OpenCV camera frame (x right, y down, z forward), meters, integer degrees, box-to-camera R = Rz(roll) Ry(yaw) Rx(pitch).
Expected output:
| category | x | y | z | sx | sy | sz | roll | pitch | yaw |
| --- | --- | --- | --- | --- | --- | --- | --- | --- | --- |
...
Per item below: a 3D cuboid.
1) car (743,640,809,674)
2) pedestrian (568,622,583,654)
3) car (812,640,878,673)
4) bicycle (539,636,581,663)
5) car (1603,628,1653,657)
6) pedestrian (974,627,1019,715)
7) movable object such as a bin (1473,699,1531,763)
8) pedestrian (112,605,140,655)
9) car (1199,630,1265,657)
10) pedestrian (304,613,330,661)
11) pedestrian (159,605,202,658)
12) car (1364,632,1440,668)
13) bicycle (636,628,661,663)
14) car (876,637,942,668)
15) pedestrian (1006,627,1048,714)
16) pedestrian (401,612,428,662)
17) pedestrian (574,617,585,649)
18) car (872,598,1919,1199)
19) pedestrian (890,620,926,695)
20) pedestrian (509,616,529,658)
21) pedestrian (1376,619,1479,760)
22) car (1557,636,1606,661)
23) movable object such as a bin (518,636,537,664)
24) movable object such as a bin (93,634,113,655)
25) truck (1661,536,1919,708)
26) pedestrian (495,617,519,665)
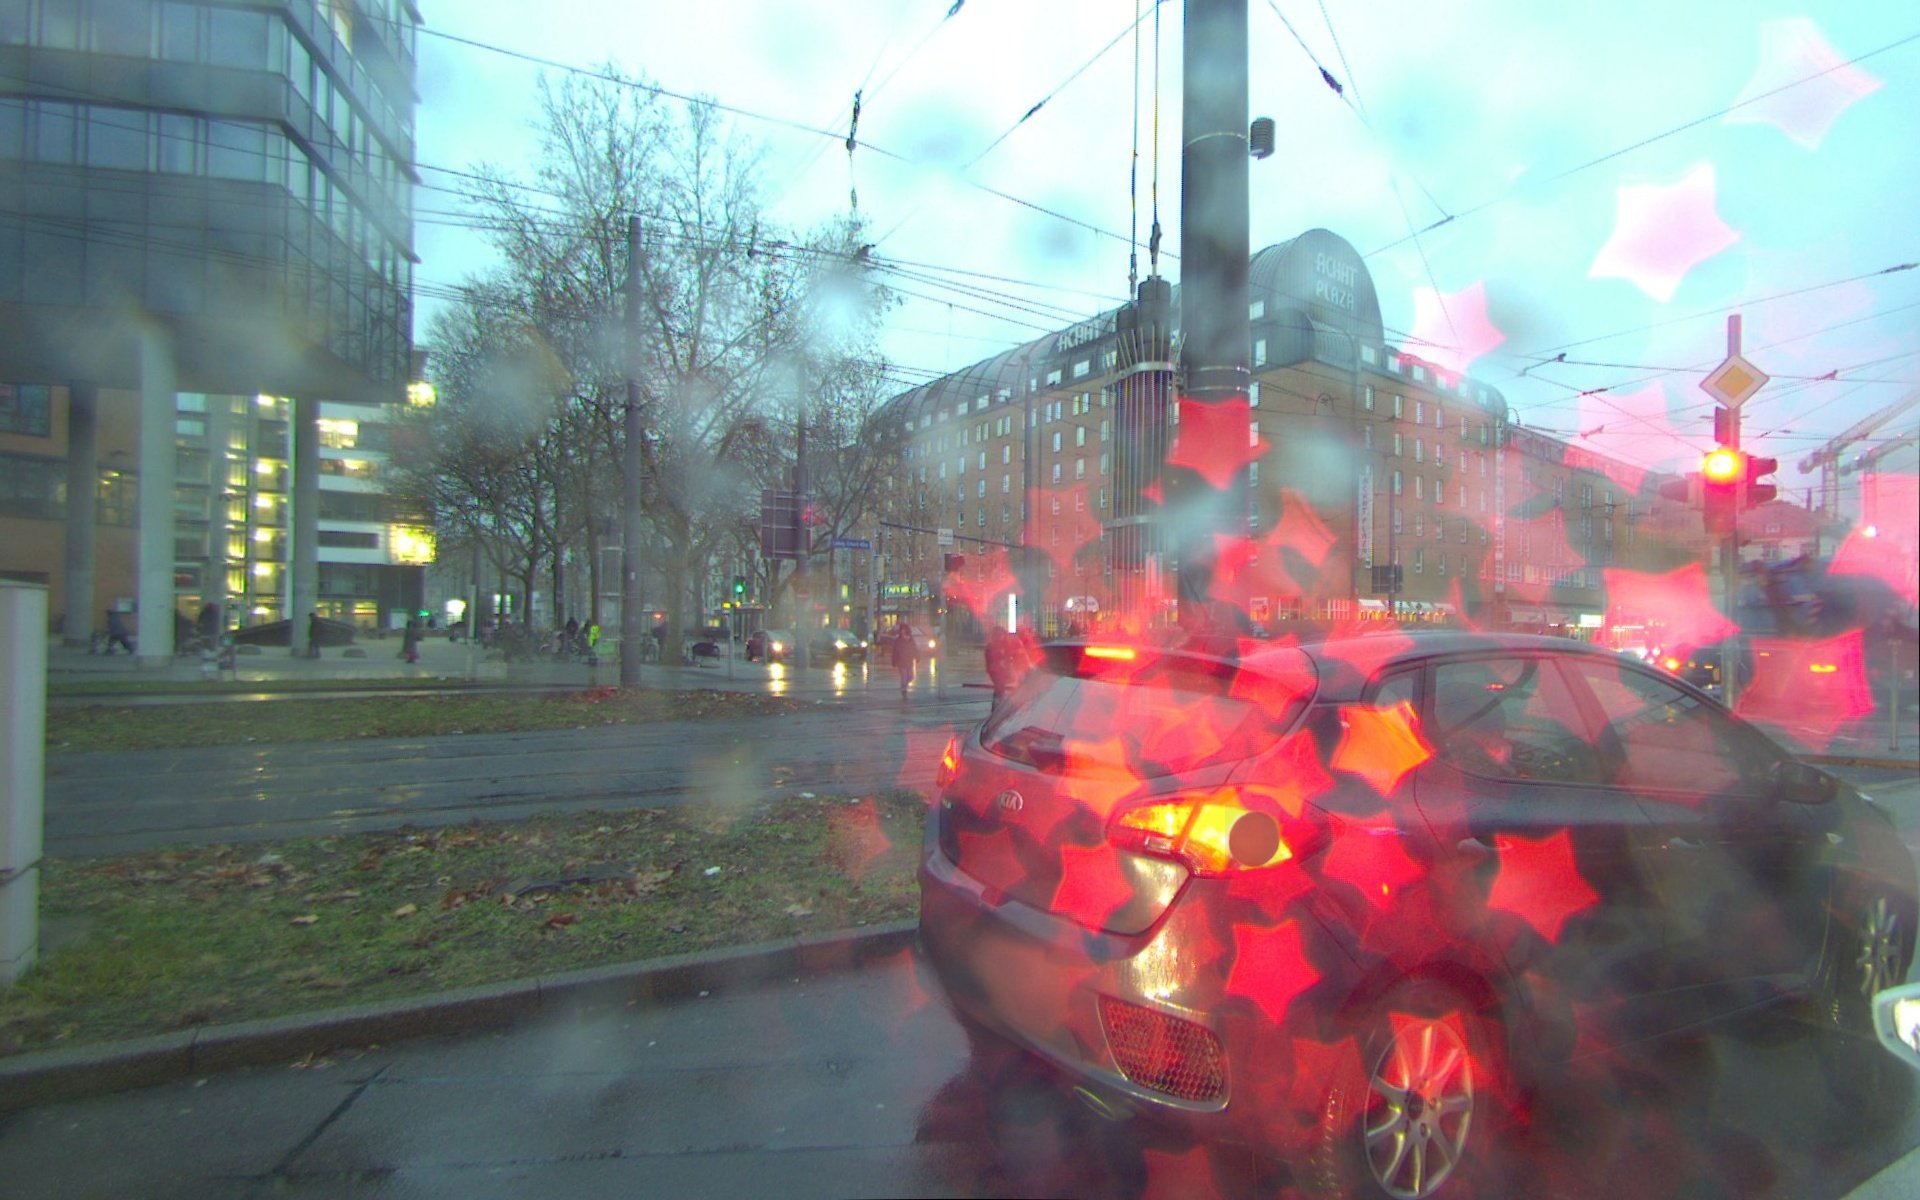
| category | x | y | z | sx | sy | sz | roll | pitch | yaw |
| --- | --- | --- | --- | --- | --- | --- | --- | --- | --- |
| car | -8.758 | 2.659 | 47.537 | 1.975 | 1.483 | 3.970 | 1 | -2 | -28 |
| pedestrian | -19.335 | 1.916 | 50.508 | 0.637 | 1.577 | 0.765 | 1 | -1 | -22 |
| car | -5.823 | 2.814 | 50.620 | 1.975 | 1.483 | 3.970 | 1 | -2 | -28 |
| bicycle | -16.368 | 2.026 | 41.159 | 1.564 | 1.088 | 0.451 | 1 | -2 | -20 |
| car | 44.247 | 2.795 | 66.524 | 3.973 | 1.885 | 1.974 | 2 | -2 | -44 |
| pedestrian | 0.646 | 1.242 | 17.775 | 0.635 | 1.532 | 0.560 | 1 | -1 | -18 |
| movable object such as a bin | 6.372 | 1.536 | 11.830 | 0.527 | 0.708 | 0.413 | 0 | -3 | 18 |
| pedestrian | -27.809 | 0.996 | 33.513 | 0.670 | 1.629 | 0.449 | 1 | -2 | -38 |
| car | 15.731 | 2.512 | 58.222 | 1.681 | 1.478 | 3.732 | 1 | -2 | -26 |
| pedestrian | -23.686 | 1.366 | 36.996 | 0.776 | 1.734 | 0.650 | 1 | -2 | -32 |
| pedestrian | -26.259 | 1.068 | 33.849 | 0.772 | 1.734 | 1.008 | 1 | -2 | -15 |
| car | 19.738 | 2.212 | 45.018 | 1.677 | 1.467 | 4.001 | 1 | -1 | 0 |
| bicycle | -12.272 | 1.788 | 39.530 | 0.624 | 1.336 | 2.296 | 1 | -2 | -26 |
| car | -2.718 | 2.713 | 52.567 | 1.975 | 1.483 | 3.970 | 1 | -2 | -28 |
| pedestrian | 1.205 | 1.264 | 18.166 | 0.604 | 1.532 | 0.519 | 1 | -1 | -18 |
| pedestrian | -19.705 | 1.346 | 36.284 | 0.811 | 1.797 | 0.568 | 1 | -2 | -29 |
| pedestrian | -24.824 | 2.142 | 65.582 | 0.568 | 2.040 | 0.583 | 1 | -2 | -16 |
| car | 1.787 | 0.786 | 3.683 | 3.894 | 1.544 | 1.622 | -1 | 0 | -30 |
| pedestrian | -1.089 | 1.172 | 20.796 | 0.724 | 1.519 | 0.676 | 1 | -1 | -4 |
| pedestrian | -19.473 | 1.611 | 44.354 | 0.719 | 1.840 | 0.773 | 1 | -1 | -30 |
| pedestrian | 5.629 | 1.064 | 12.156 | 1.016 | 1.621 | 0.716 | -1 | -3 | 18 |
| car | 42.873 | 3.318 | 69.225 | 3.973 | 1.692 | 1.974 | 2 | -2 | -44 |
| movable object such as a bin | -16.597 | 1.918 | 38.548 | 0.637 | 1.048 | 0.572 | 1 | -1 | -23 |
| movable object such as a bin | -28.277 | 1.473 | 33.155 | 0.481 | 0.698 | 0.353 | 2 | -2 | -38 |
| truck | 20.763 | 0.572 | 25.409 | 2.791 | 3.681 | 7.530 | 0 | -1 | 17 |
| pedestrian | -17.255 | 1.558 | 38.293 | 0.778 | 1.828 | 0.868 | 1 | -1 | -22 |
